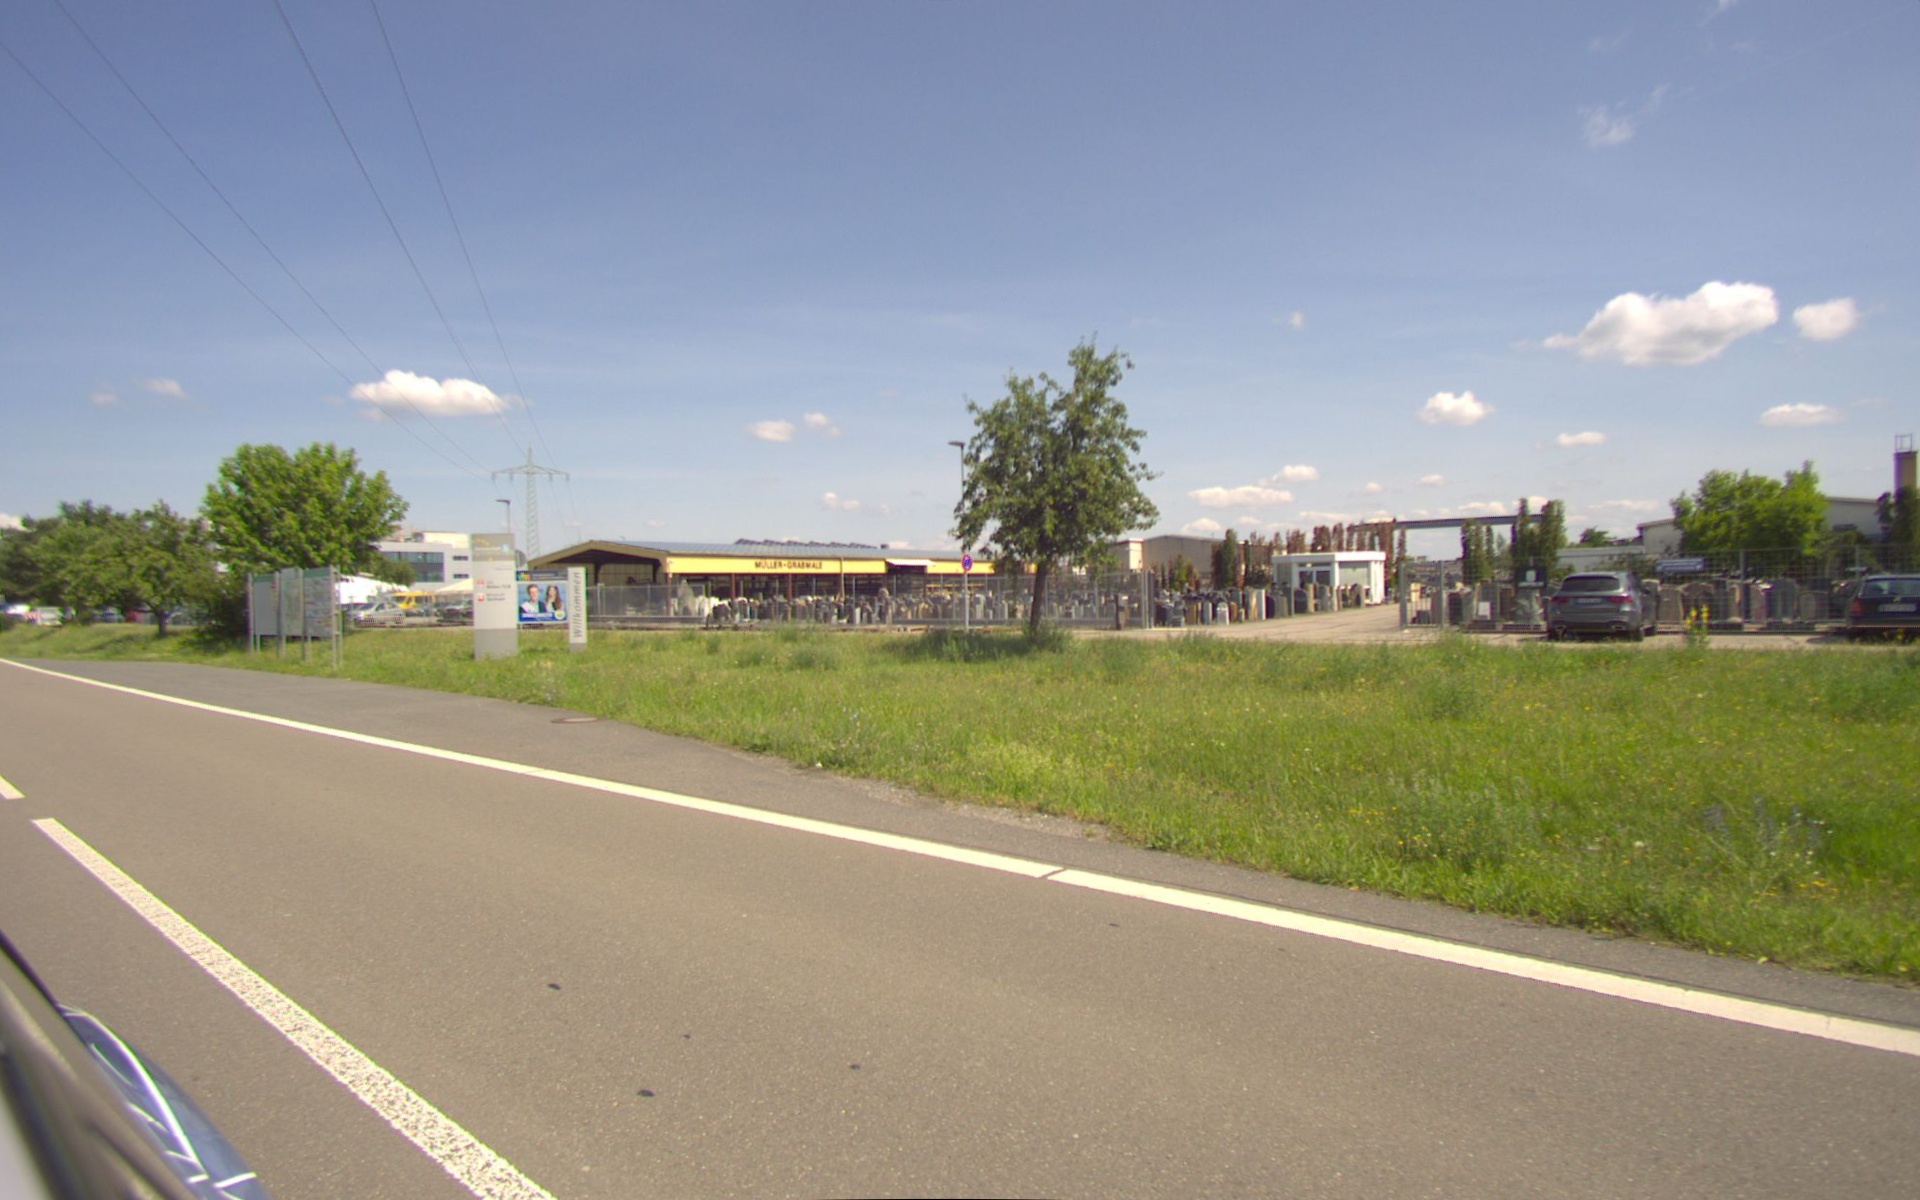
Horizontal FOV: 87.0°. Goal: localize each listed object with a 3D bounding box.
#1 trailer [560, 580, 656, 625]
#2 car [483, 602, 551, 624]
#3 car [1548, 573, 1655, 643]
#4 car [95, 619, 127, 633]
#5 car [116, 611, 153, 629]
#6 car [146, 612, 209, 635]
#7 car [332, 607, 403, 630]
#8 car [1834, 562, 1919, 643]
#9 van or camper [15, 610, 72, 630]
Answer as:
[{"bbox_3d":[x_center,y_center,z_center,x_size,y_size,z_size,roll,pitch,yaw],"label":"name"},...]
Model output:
[{"bbox_3d":[-23.586,0.123,68.021,2.734,2.846,5.516,-1,1,34],"label":"trailer"},{"bbox_3d":[-33.106,0.969,75.657,4.201,1.497,1.994,-2,1,10],"label":"car"},{"bbox_3d":[15.750,0.154,24.747,1.996,1.539,3.952,-2,0,35],"label":"car"},{"bbox_3d":[-95.752,2.920,114.094,4.513,1.419,1.974,-2,1,40],"label":"car"},{"bbox_3d":[-85.638,2.103,104.963,4.220,1.758,1.976,-1,1,36],"label":"car"},{"bbox_3d":[-65.333,1.976,84.581,1.703,1.717,4.099,-2,1,8],"label":"car"},{"bbox_3d":[-38.525,1.183,65.907,1.920,1.320,3.990,-2,1,8],"label":"car"},{"bbox_3d":[19.978,0.006,21.536,1.662,1.567,3.952,-1,1,35],"label":"car"},{"bbox_3d":[-126.771,2.697,140.053,5.492,2.516,2.085,-2,1,-26],"label":"van or camper"}]
